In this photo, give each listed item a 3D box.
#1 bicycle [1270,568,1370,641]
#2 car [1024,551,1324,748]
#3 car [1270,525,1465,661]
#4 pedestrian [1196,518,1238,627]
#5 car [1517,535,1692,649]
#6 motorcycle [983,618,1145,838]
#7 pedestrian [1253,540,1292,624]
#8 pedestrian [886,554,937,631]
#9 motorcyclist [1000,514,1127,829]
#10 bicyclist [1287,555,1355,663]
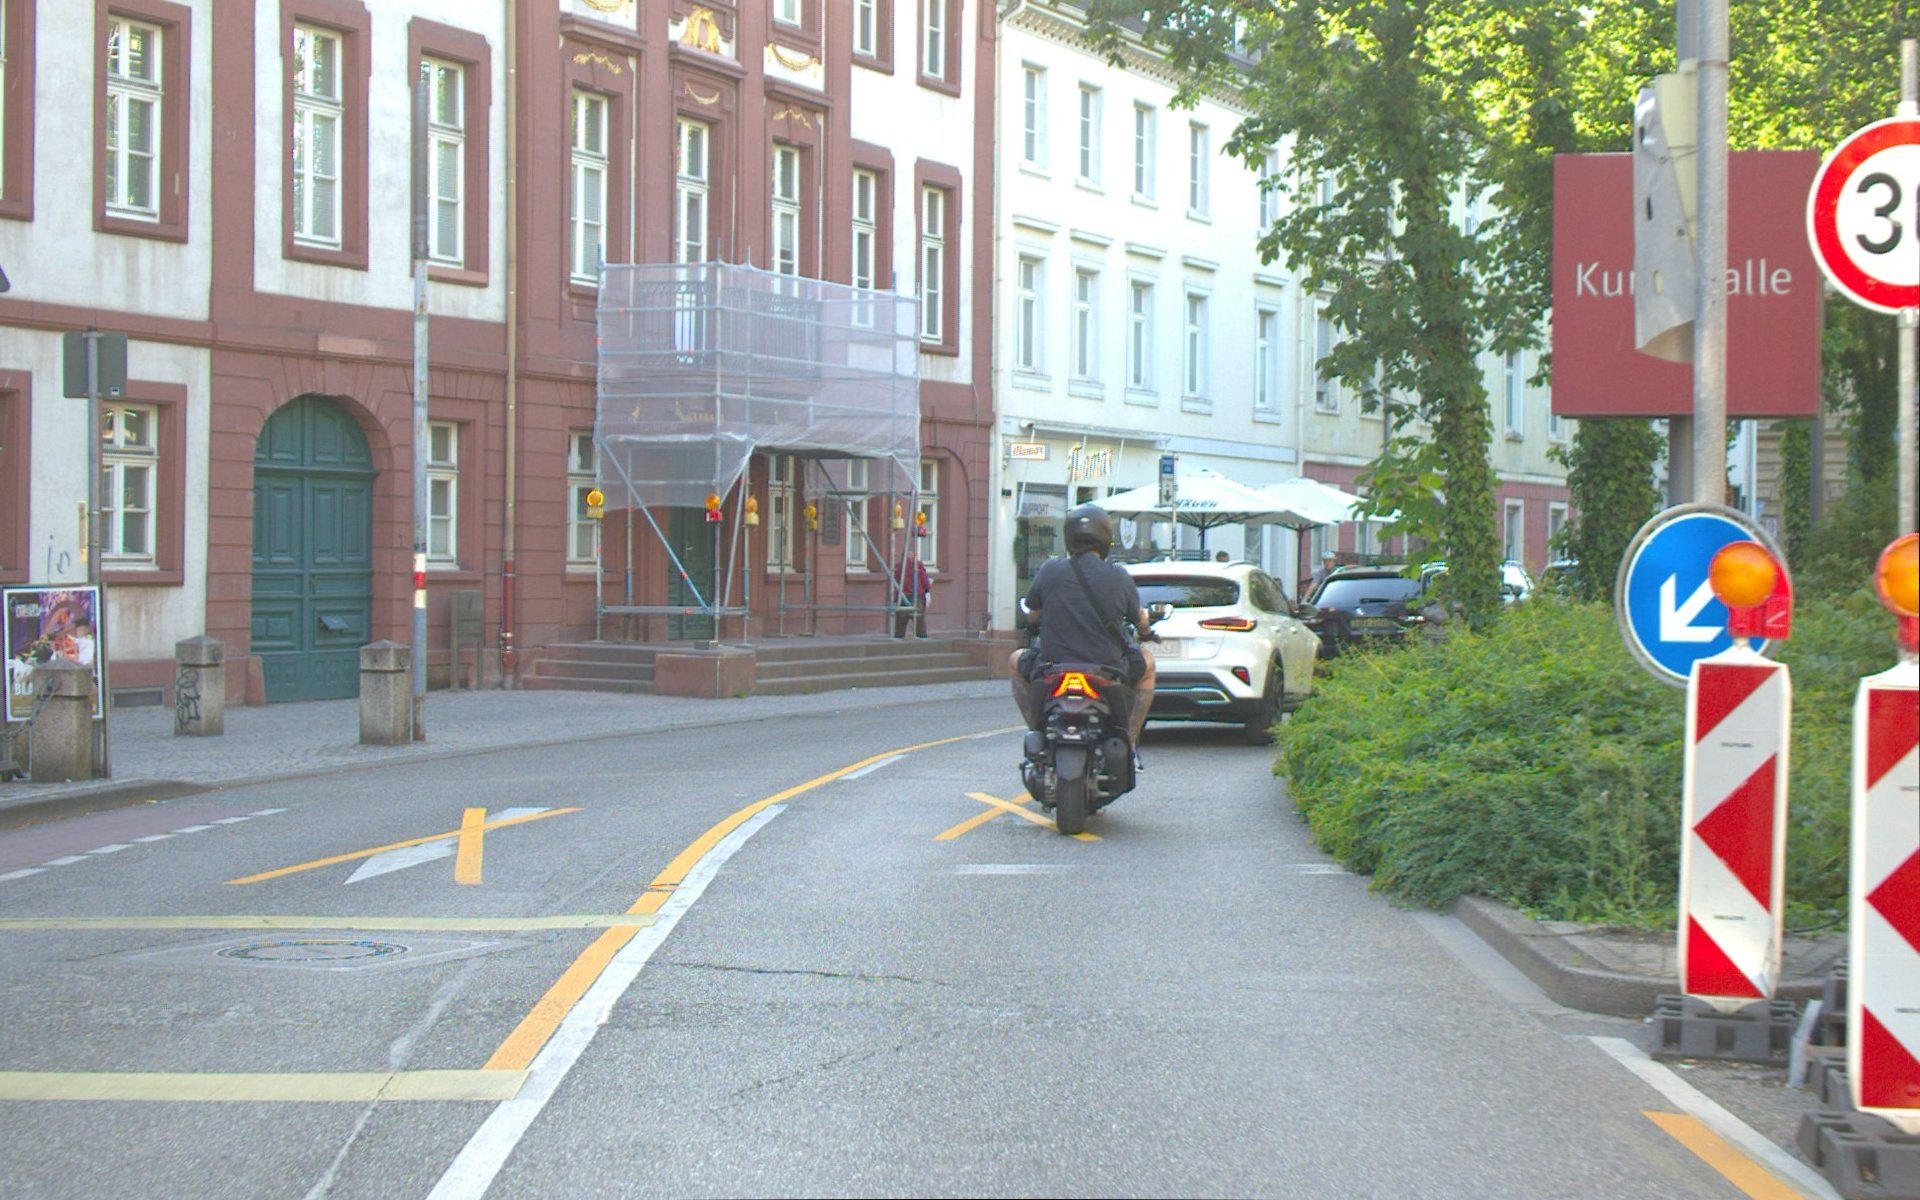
[{"bbox_3d":[5.388,0.053,51.320,0.772,1.059,2.075,0,1,28],"label":"bicycle"},{"bbox_3d":[1.854,0.358,28.573,1.852,1.475,4.055,1,1,13],"label":"car"},{"bbox_3d":[4.766,-0.100,39.765,1.841,1.458,4.055,1,1,12],"label":"car"},{"bbox_3d":[4.219,-0.455,56.440,0.438,1.769,0.596,0,0,37],"label":"pedestrian"},{"bbox_3d":[10.273,-0.145,54.589,1.842,1.707,4.052,1,1,23],"label":"car"},{"bbox_3d":[0.557,0.650,18.237,0.796,1.062,1.725,1,1,2],"label":"motorcycle"},{"bbox_3d":[5.167,-0.300,56.858,0.524,1.386,0.488,0,0,22],"label":"pedestrian"},{"bbox_3d":[-0.671,-0.111,47.623,0.537,1.049,0.551,1,1,20],"label":"pedestrian"},{"bbox_3d":[0.556,0.367,18.330,0.657,1.645,0.650,0,1,3],"label":"motorcyclist"},{"bbox_3d":[5.401,0.131,51.367,0.745,1.578,0.794,2,1,27],"label":"bicyclist"}]
